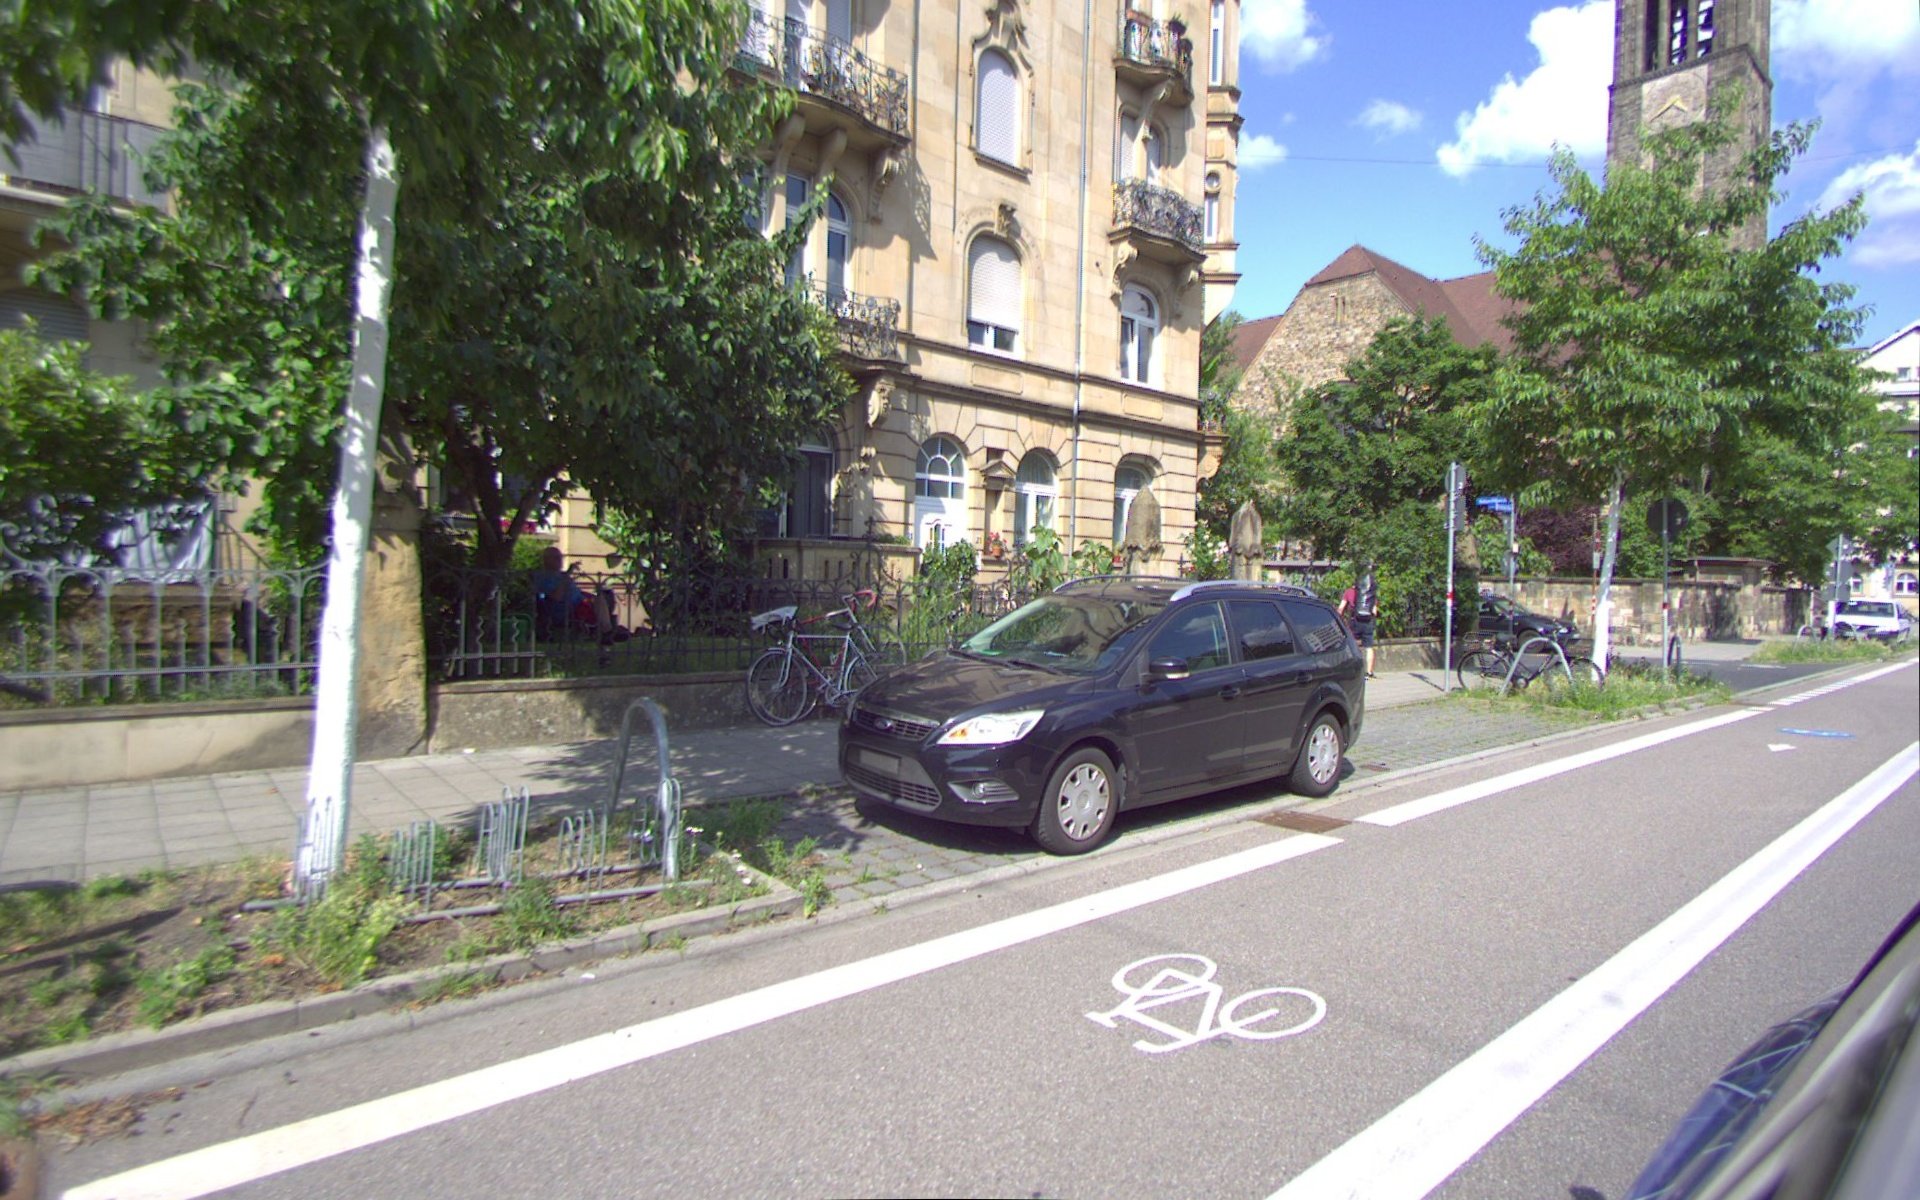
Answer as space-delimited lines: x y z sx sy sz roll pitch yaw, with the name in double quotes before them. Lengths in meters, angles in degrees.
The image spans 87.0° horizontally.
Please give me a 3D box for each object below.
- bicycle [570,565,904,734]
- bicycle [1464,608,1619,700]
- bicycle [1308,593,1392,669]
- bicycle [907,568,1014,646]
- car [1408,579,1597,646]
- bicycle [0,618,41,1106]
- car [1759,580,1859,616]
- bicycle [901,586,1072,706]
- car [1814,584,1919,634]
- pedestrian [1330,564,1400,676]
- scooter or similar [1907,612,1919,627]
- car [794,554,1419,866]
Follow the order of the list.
"bicycle" -1.863 0.369 8.956 2.891 1.263 0.659 0 4 -41
"bicycle" 7.659 0.681 13.384 1.706 1.082 0.464 2 2 44
"bicycle" 6.162 0.464 15.954 1.681 1.122 0.471 0 1 -41
"bicycle" -0.020 0.083 16.438 1.890 1.082 0.464 7 5 44
"car" 14.790 0.278 27.784 1.727 1.574 4.259 -3 4 -41
"bicycle" -3.868 0.659 3.303 2.940 1.262 0.782 2 1 38
"car" 47.098 -0.115 56.197 1.832 1.846 4.007 1 1 -43
"bicycle" 0.317 0.449 10.721 1.988 1.153 0.428 0 4 -41
"car" 27.820 0.282 30.871 3.768 1.434 1.675 1 -1 -32
"pedestrian" 6.207 0.286 15.515 0.712 1.649 0.724 0 1 -40
"scooter or similar" 66.897 1.368 70.444 1.117 0.989 0.885 2 1 20
"car" 1.288 0.514 7.089 4.624 1.521 1.689 0 1 -40
